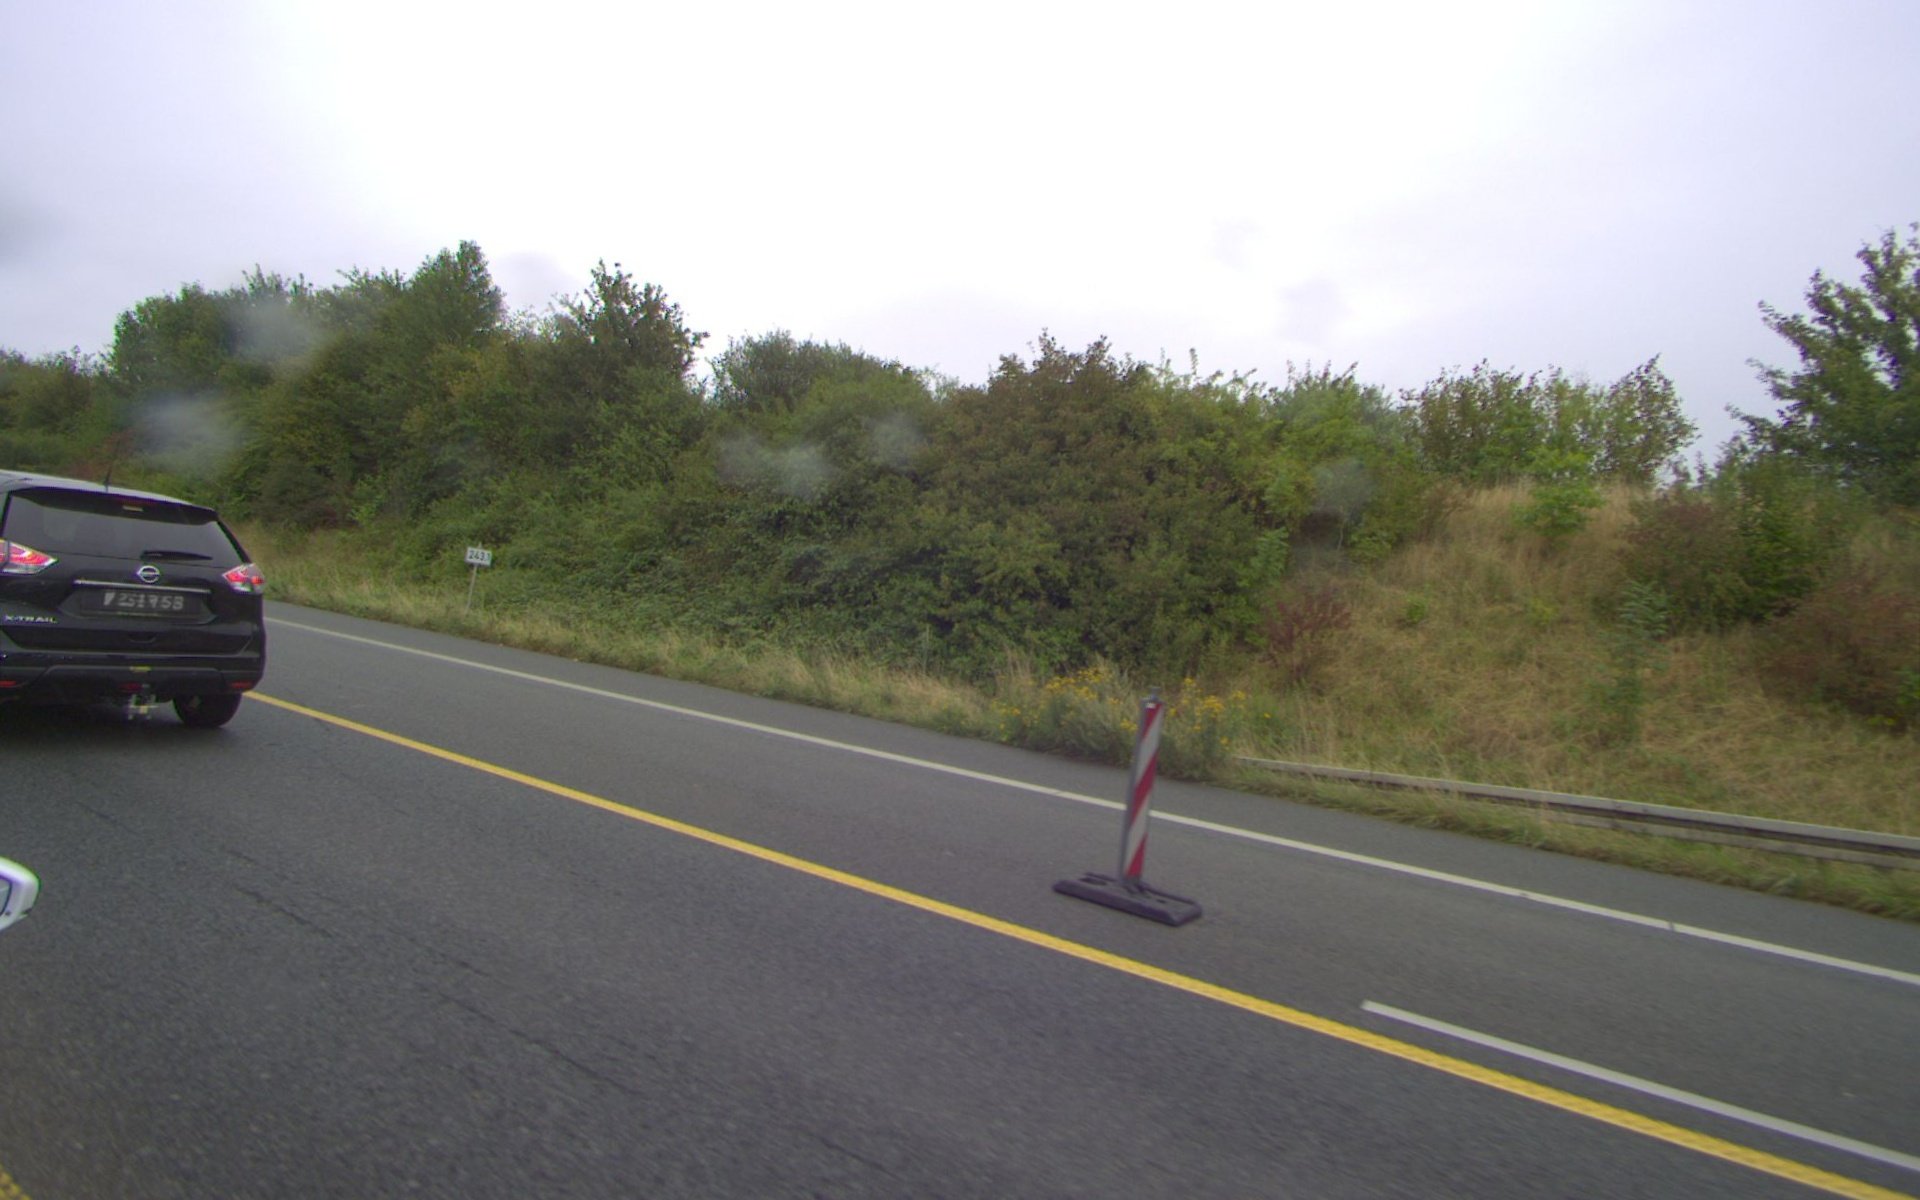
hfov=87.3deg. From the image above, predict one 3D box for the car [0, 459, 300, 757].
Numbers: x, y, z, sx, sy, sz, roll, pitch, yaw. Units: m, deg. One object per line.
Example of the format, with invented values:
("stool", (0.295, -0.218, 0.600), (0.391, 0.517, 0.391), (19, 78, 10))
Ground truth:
("car", (-6.891, -0.100, 7.290), (4.208, 1.678, 1.688), (7, -1, 30))
